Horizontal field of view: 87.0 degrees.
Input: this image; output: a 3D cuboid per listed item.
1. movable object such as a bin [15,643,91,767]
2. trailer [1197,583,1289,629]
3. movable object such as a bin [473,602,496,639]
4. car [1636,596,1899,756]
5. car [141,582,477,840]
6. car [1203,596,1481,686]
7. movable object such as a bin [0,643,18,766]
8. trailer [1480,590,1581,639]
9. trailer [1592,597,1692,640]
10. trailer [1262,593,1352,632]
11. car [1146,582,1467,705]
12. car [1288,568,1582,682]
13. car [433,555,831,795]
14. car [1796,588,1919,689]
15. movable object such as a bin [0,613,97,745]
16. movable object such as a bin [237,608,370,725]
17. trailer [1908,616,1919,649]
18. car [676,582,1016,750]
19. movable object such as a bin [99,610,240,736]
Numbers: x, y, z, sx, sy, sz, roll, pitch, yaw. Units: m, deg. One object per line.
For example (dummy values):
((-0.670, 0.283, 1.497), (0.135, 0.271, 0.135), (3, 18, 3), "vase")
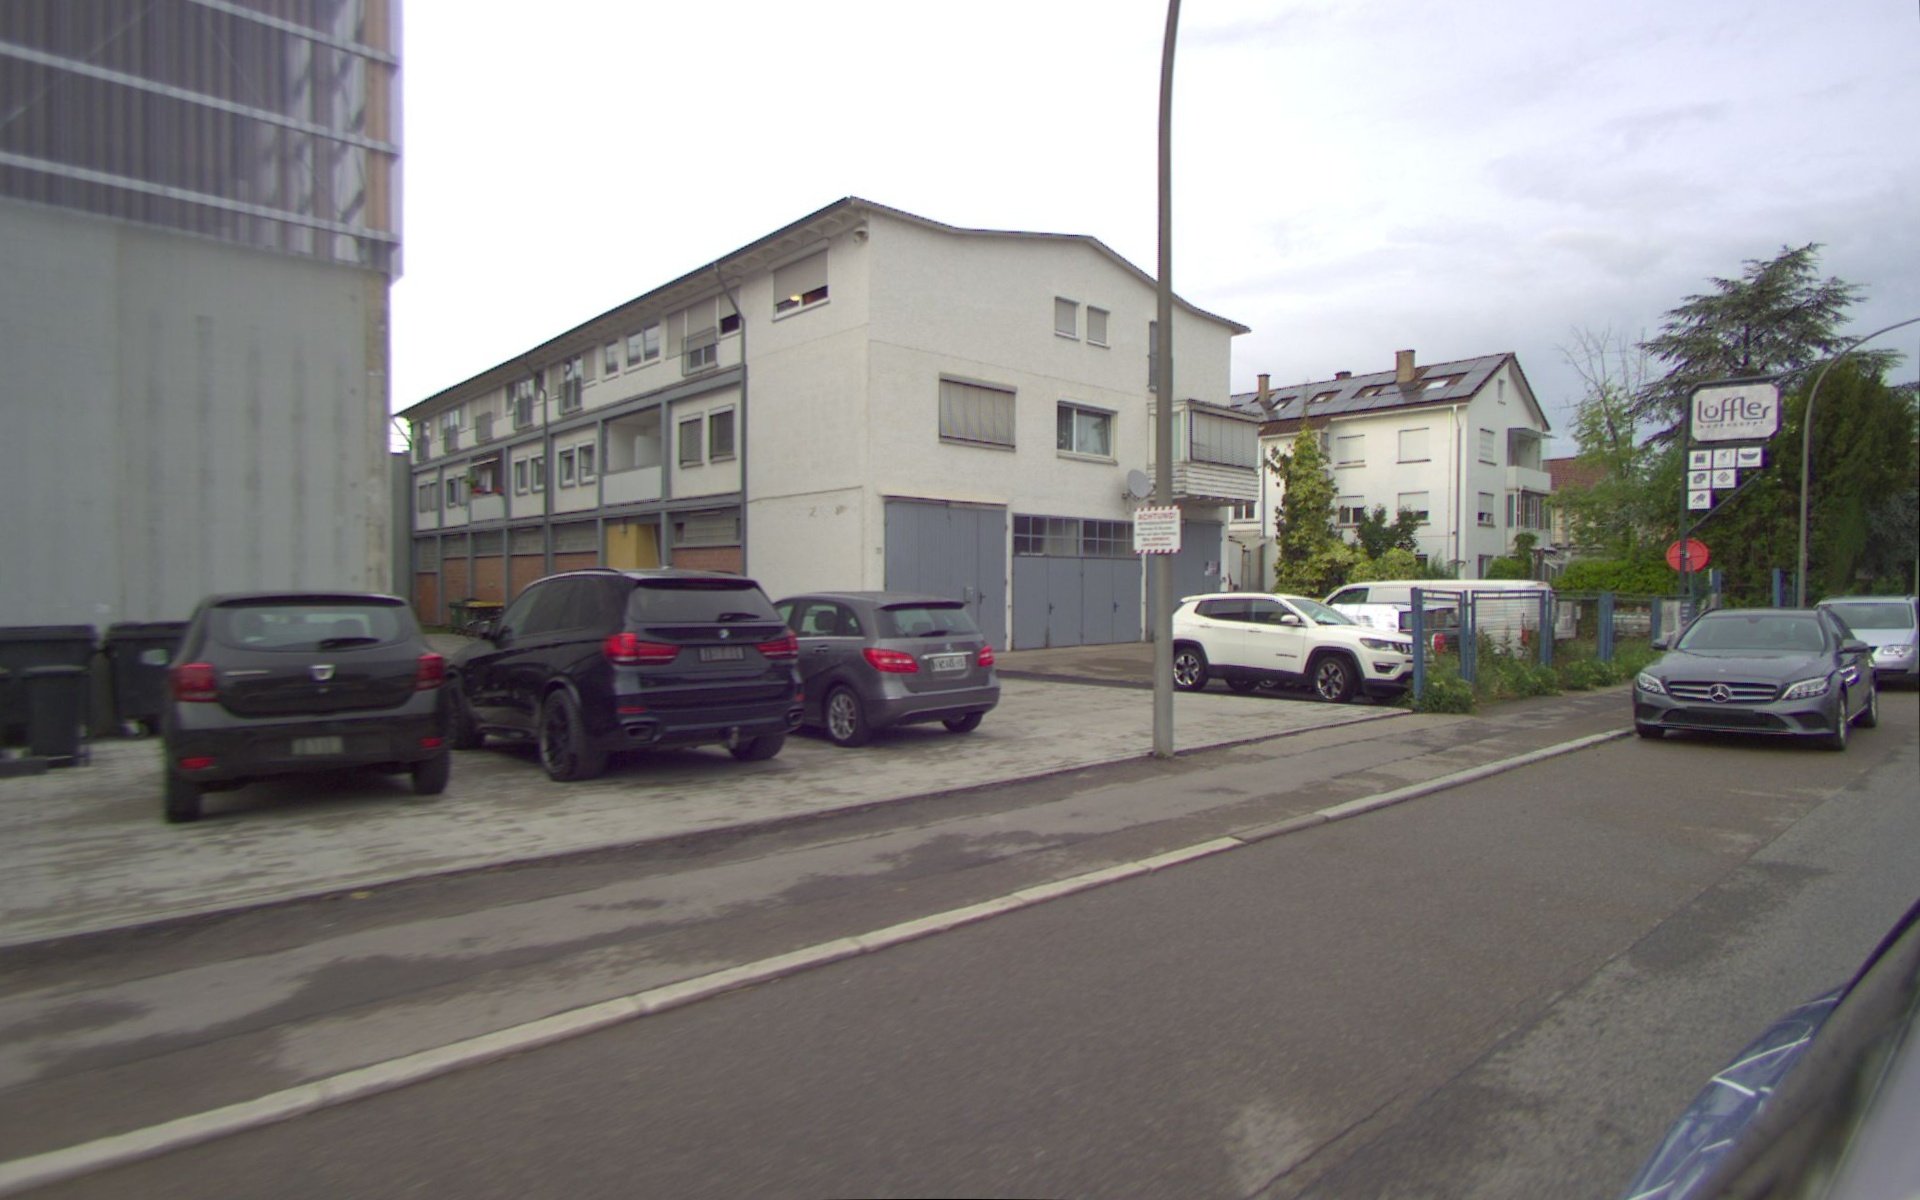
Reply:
((-8.355, 0.949, 9.337), (0.496, 1.068, 0.518), (0, -1, -40), "movable object such as a bin")
((11.950, 0.219, 42.600), (1.993, 1.836, 4.336), (-1, 0, 43), "trailer")
((-17.852, 0.762, 38.020), (0.710, 1.399, 0.409), (0, -1, -39), "movable object such as a bin")
((9.526, 0.728, 11.798), (4.469, 1.485, 1.740), (-1, 0, -43), "car")
((-5.334, 0.650, 8.046), (1.800, 1.509, 3.974), (0, 0, -40), "car")
((6.714, 0.659, 18.142), (1.818, 1.396, 4.325), (-1, 0, -42), "car")
((-8.764, 0.936, 8.992), (0.543, 1.068, 0.496), (0, -1, -40), "movable object such as a bin")
((19.687, 0.458, 34.824), (4.726, 1.539, 1.770), (-1, 1, -44), "trailer")
((22.158, 0.562, 32.843), (3.821, 1.291, 1.619), (-1, 0, -39), "trailer")
((13.934, 0.469, 40.579), (4.024, 1.483, 1.642), (-1, 0, -41), "trailer")
((5.279, 0.590, 15.904), (1.861, 1.645, 4.451), (-1, 0, -42), "car")
((8.999, 0.429, 19.521), (1.965, 1.910, 4.739), (-1, 0, -41), "car")
((-3.221, 0.540, 9.396), (1.947, 1.696, 4.231), (-1, 0, -42), "car")
((16.888, 0.619, 18.455), (4.295, 1.642, 1.742), (-1, 0, -40), "car")
((-10.179, 0.830, 10.921), (1.298, 1.357, 0.839), (0, 0, -40), "movable object such as a bin")
((-8.238, 0.793, 12.706), (1.307, 1.357, 0.839), (0, 0, -40), "movable object such as a bin")
((30.043, 0.930, 30.068), (6.521, 0.909, 2.177), (0, -1, -42), "trailer")
((-1.476, 0.643, 11.575), (1.780, 1.555, 4.249), (-1, -1, -41), "car")
((-9.233, 0.807, 11.836), (1.262, 1.357, 0.839), (0, 0, -40), "movable object such as a bin")
